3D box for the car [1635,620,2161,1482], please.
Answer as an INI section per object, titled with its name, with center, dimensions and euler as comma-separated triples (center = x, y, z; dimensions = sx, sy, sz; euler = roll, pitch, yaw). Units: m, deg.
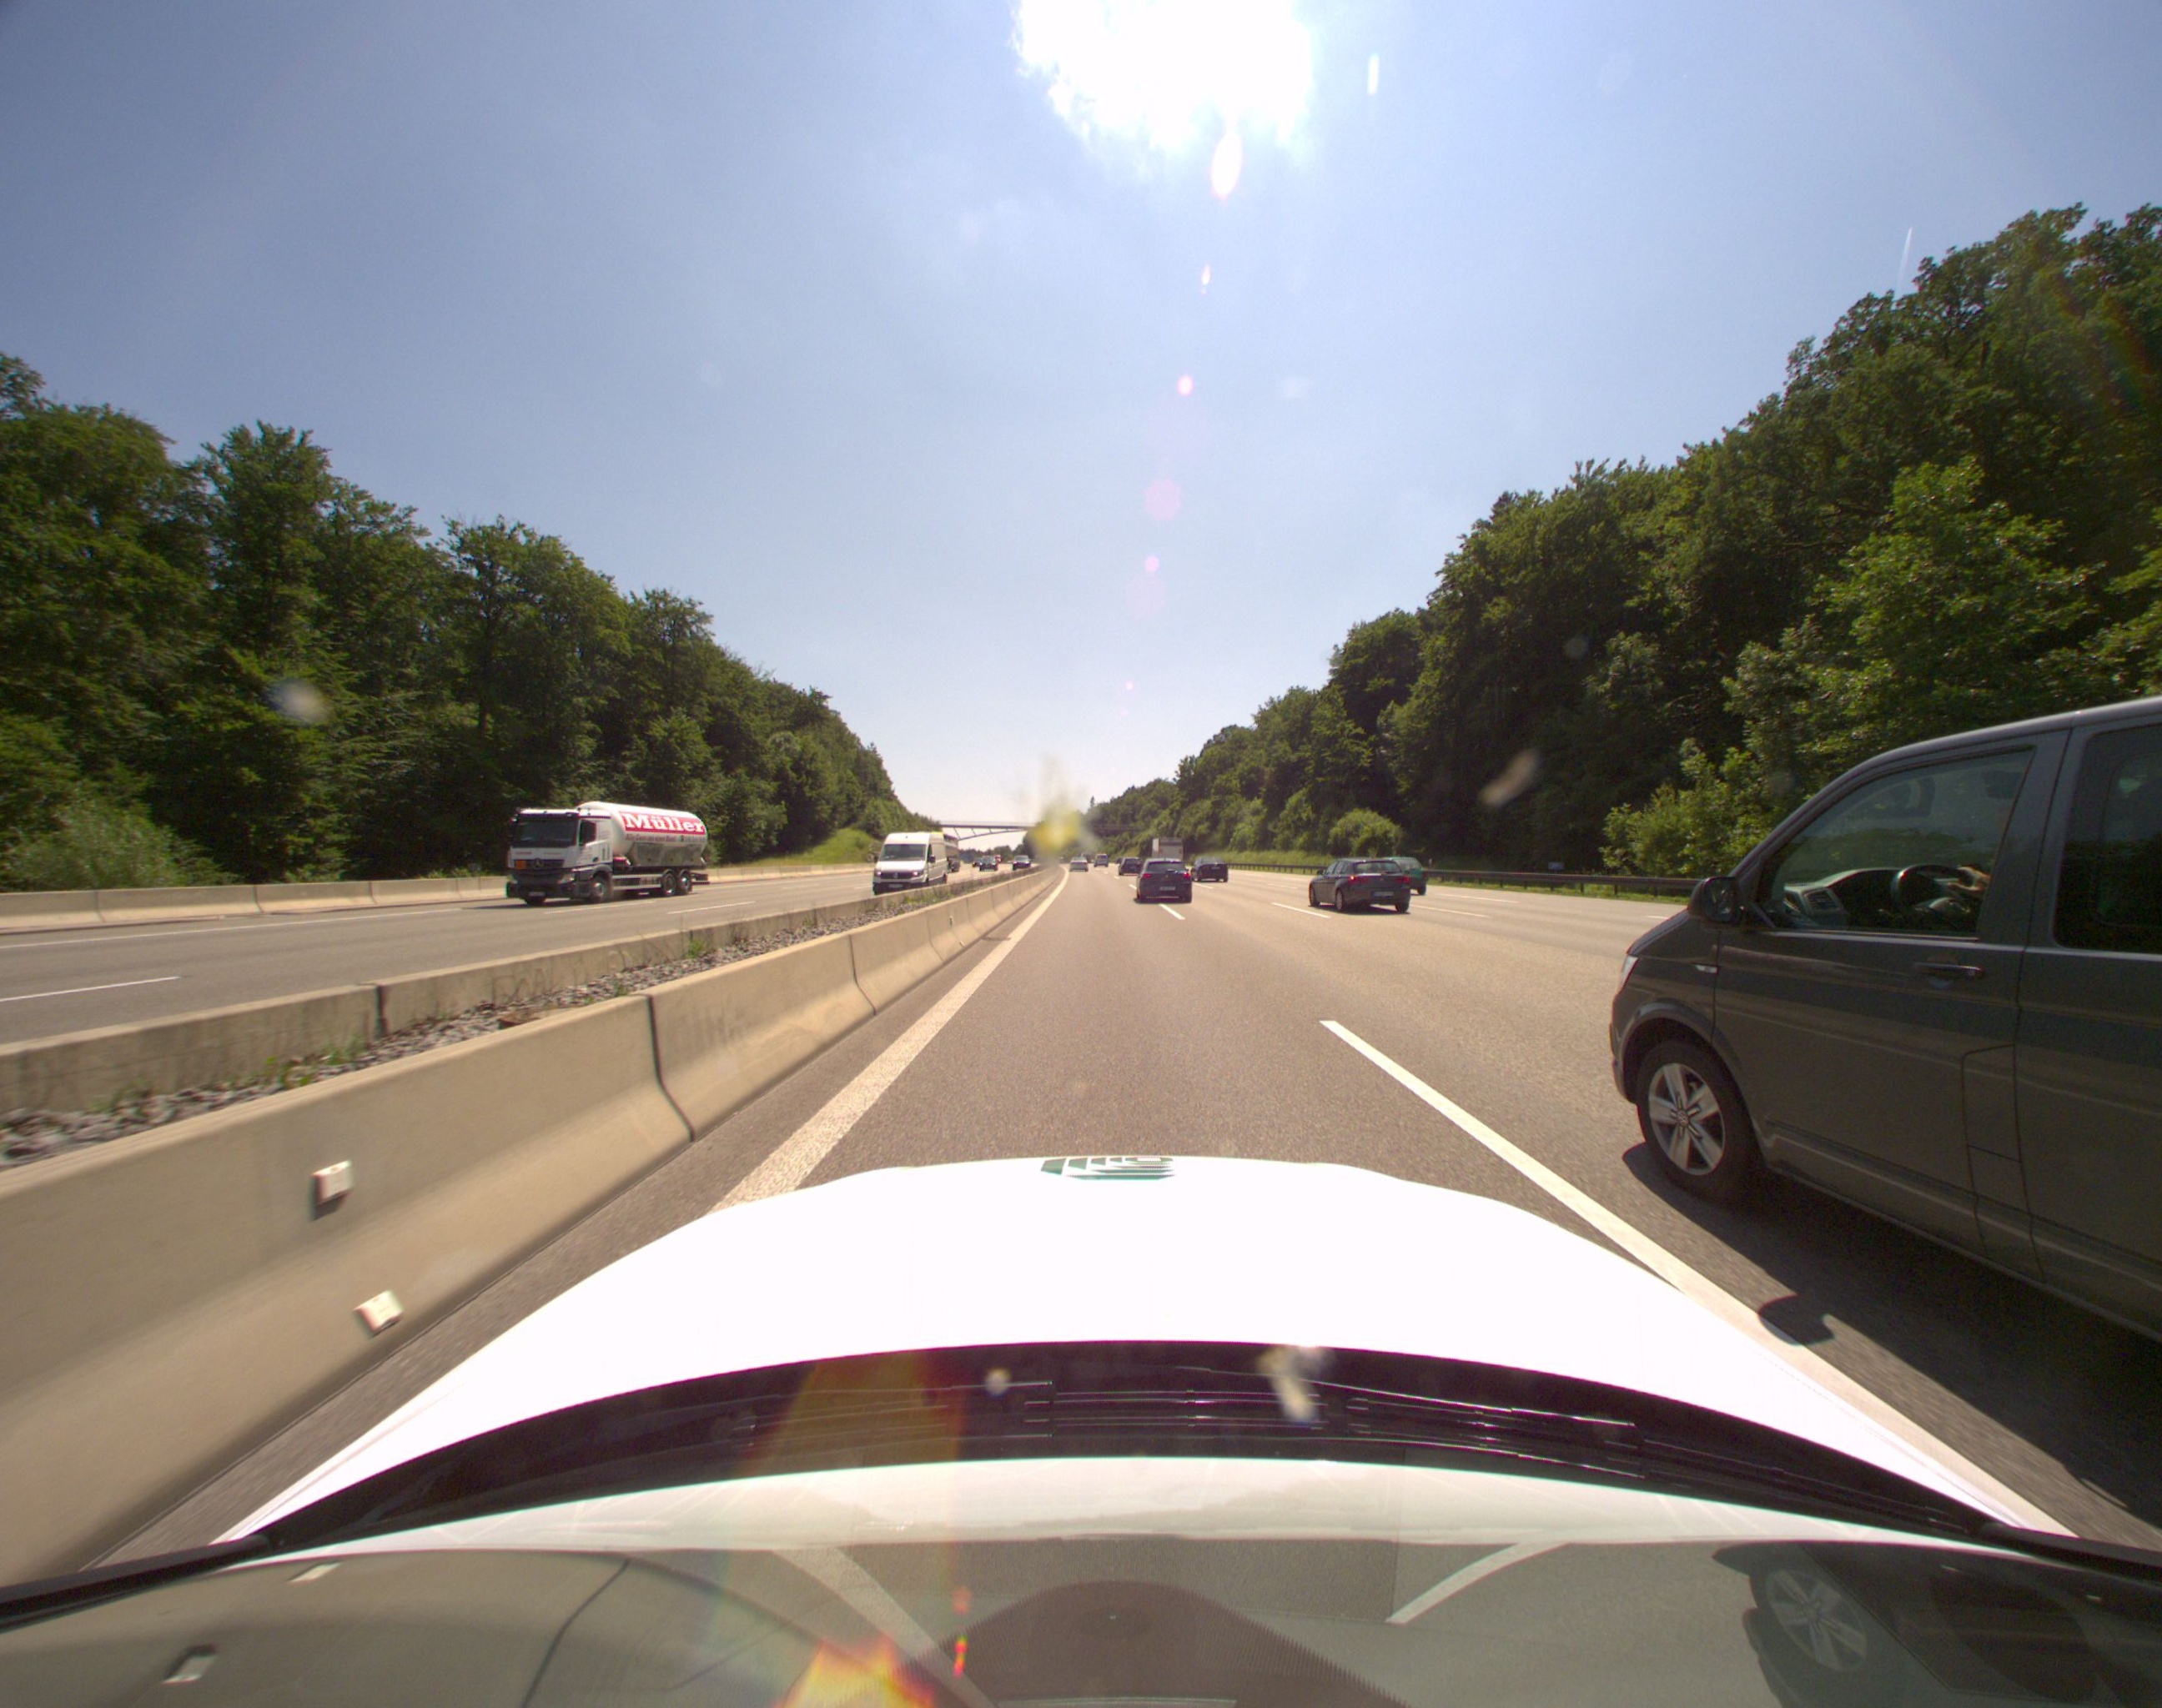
[car]
center = 3.498, 0.459, 1.293
dimensions = 1.955, 2.033, 5.086
euler = 0, 0, 3
